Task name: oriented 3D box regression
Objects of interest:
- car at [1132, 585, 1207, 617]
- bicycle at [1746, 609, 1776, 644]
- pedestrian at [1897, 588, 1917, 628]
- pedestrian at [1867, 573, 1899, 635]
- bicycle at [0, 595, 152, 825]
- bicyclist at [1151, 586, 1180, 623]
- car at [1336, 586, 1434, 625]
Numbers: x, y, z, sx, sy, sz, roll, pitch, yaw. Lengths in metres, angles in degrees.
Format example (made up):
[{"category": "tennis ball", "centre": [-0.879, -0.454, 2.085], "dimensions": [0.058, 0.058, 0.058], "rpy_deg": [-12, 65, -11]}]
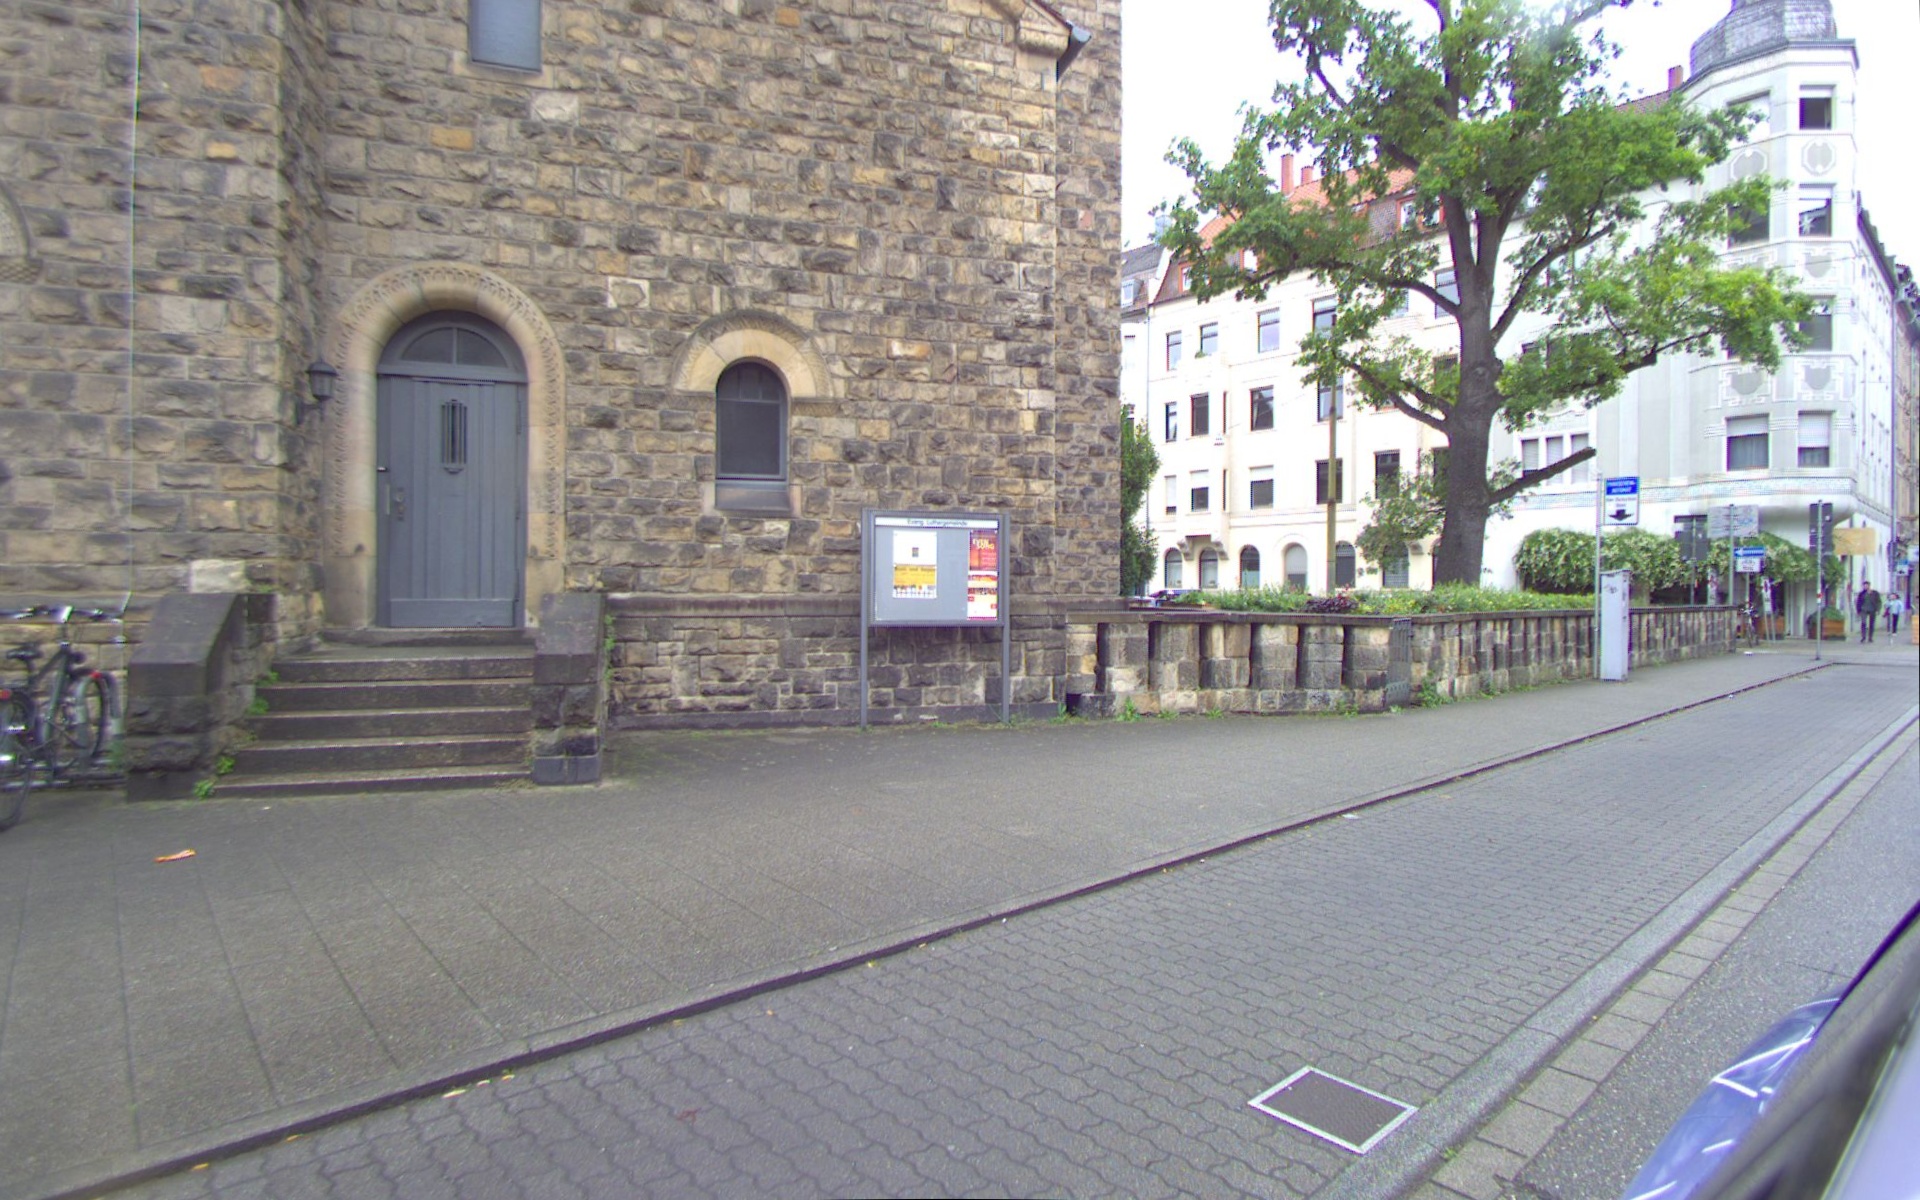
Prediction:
[{"category": "car", "centre": [9.775, 0.019, 47.343], "dimensions": [1.421, 1.427, 3.271], "rpy_deg": [0, 1, -38]}, {"category": "bicycle", "centre": [24.339, 0.794, 30.727], "dimensions": [1.990, 0.904, 0.390], "rpy_deg": [-3, 3, -42]}, {"category": "pedestrian", "centre": [35.484, 0.284, 37.916], "dimensions": [0.385, 1.479, 0.481], "rpy_deg": [0, 1, -42]}, {"category": "pedestrian", "centre": [28.961, 0.119, 31.741], "dimensions": [0.681, 1.896, 0.645], "rpy_deg": [0, 1, -42]}, {"category": "bicycle", "centre": [-5.304, 0.547, 5.906], "dimensions": [0.502, 1.067, 1.994], "rpy_deg": [0, 3, -27]}, {"category": "bicyclist", "centre": [8.777, 0.189, 43.187], "dimensions": [0.527, 1.549, 1.134], "rpy_deg": [0, 0, -38]}, {"category": "car", "centre": [16.705, 0.177, 39.846], "dimensions": [1.421, 1.427, 3.271], "rpy_deg": [0, 1, -38]}]
